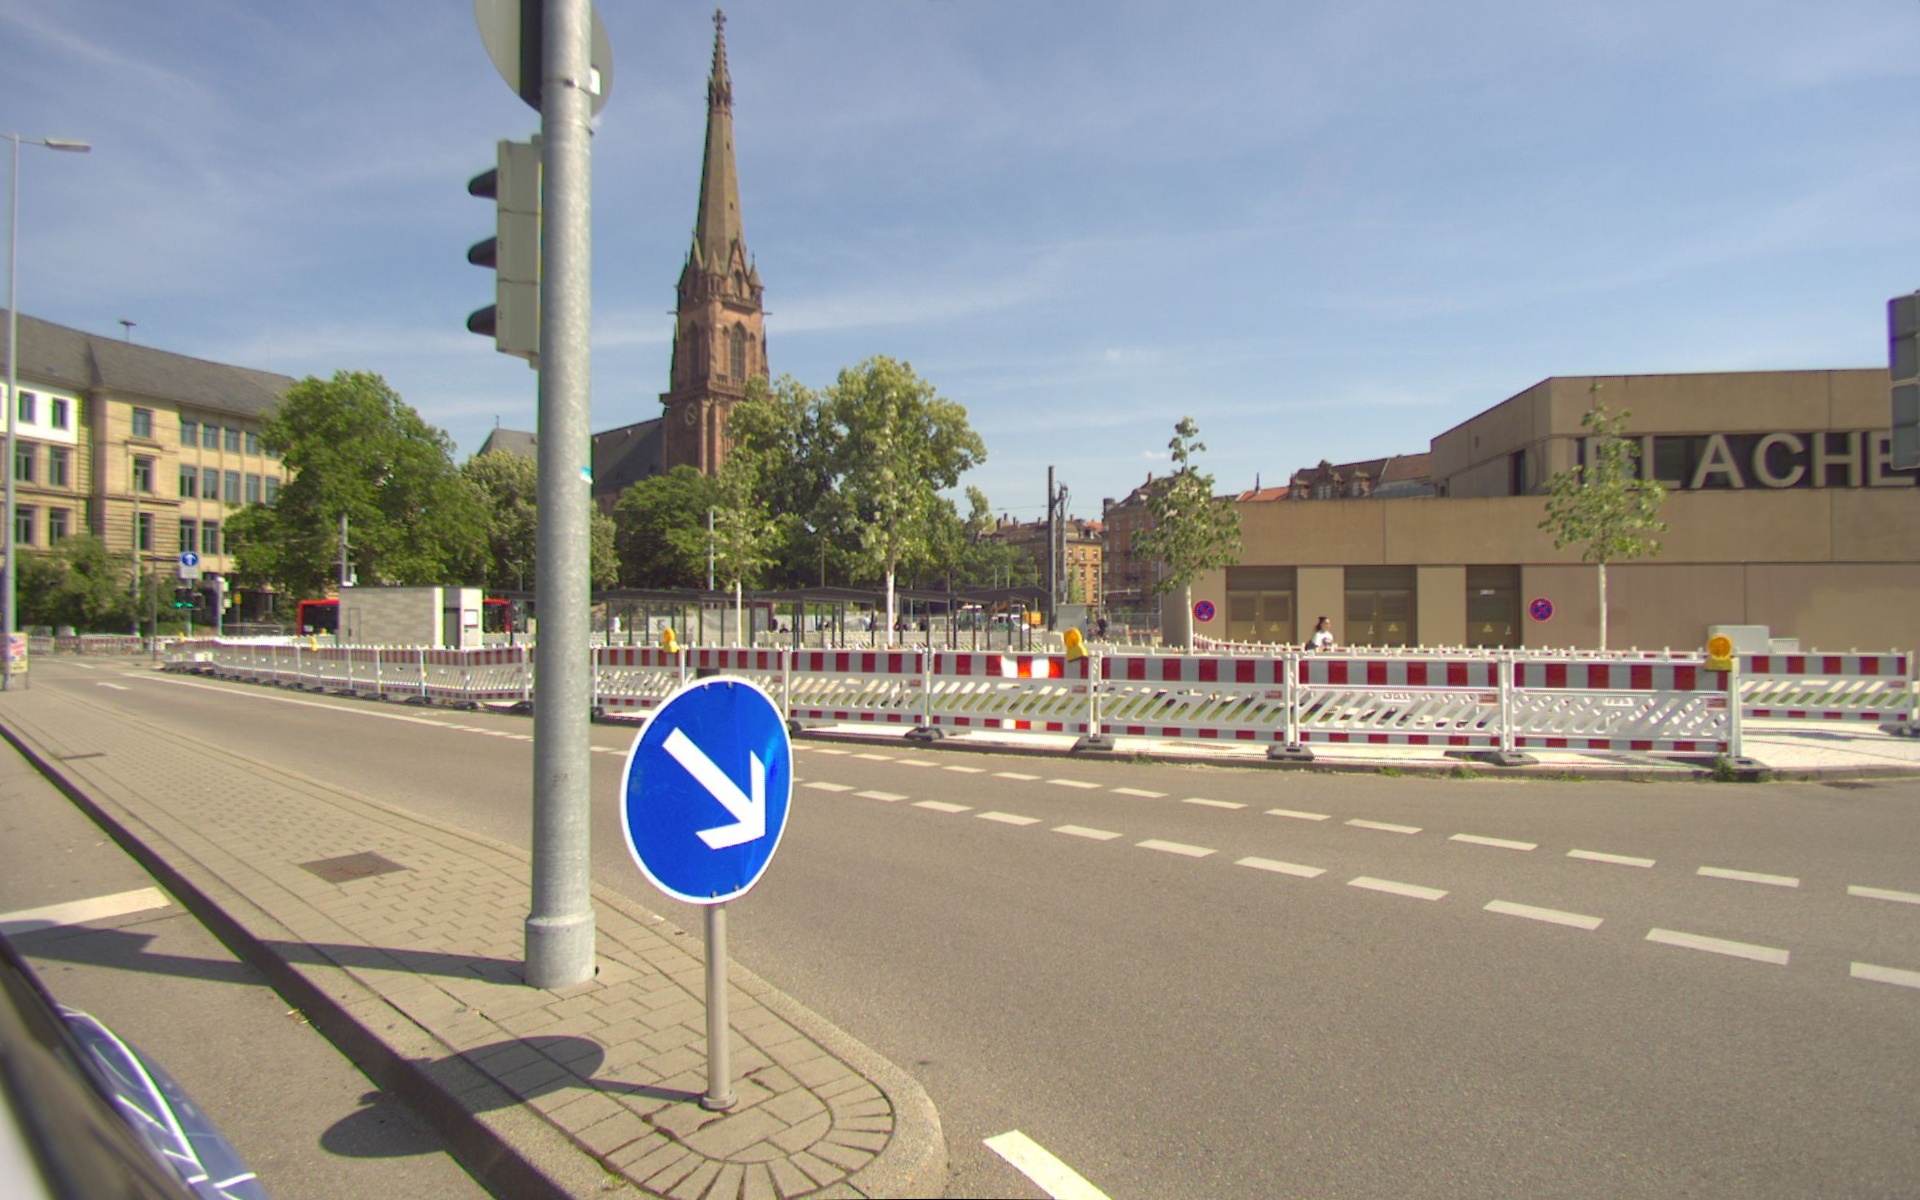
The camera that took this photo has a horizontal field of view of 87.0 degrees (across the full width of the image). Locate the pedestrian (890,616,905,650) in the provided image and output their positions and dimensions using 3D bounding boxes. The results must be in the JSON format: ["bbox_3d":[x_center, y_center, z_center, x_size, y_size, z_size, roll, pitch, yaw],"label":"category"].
[{"bbox_3d":[-3.115,1.644,50.307,0.733,1.674,0.821,0,-2,-6],"label":"pedestrian"}]

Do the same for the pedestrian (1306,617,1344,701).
[{"bbox_3d":[6.977,1.125,19.343,0.548,1.576,0.425,1,-2,-31],"label":"pedestrian"}]

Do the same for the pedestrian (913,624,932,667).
[{"bbox_3d":[-1.788,2.166,48.339,0.681,2.029,0.816,-1,-2,18],"label":"pedestrian"}]

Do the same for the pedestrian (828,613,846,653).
[{"bbox_3d":[-6.225,1.659,51.318,0.679,2.029,0.817,-1,-2,12],"label":"pedestrian"}]

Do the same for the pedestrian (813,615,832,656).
[{"bbox_3d":[-6.970,1.785,51.325,0.679,2.029,0.817,0,-1,12],"label":"pedestrian"}]

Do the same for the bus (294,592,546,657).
[{"bbox_3d":[-30.445,1.309,57.665,12.212,3.117,3.140,-2,0,-10],"label":"bus"}]

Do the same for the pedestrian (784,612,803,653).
[{"bbox_3d":[-8.306,1.603,50.560,0.679,2.029,0.817,-1,-2,12],"label":"pedestrian"}]

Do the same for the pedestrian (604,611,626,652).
[{"bbox_3d":[-17.364,1.599,50.975,0.687,2.029,0.808,-2,-3,45],"label":"pedestrian"}]
